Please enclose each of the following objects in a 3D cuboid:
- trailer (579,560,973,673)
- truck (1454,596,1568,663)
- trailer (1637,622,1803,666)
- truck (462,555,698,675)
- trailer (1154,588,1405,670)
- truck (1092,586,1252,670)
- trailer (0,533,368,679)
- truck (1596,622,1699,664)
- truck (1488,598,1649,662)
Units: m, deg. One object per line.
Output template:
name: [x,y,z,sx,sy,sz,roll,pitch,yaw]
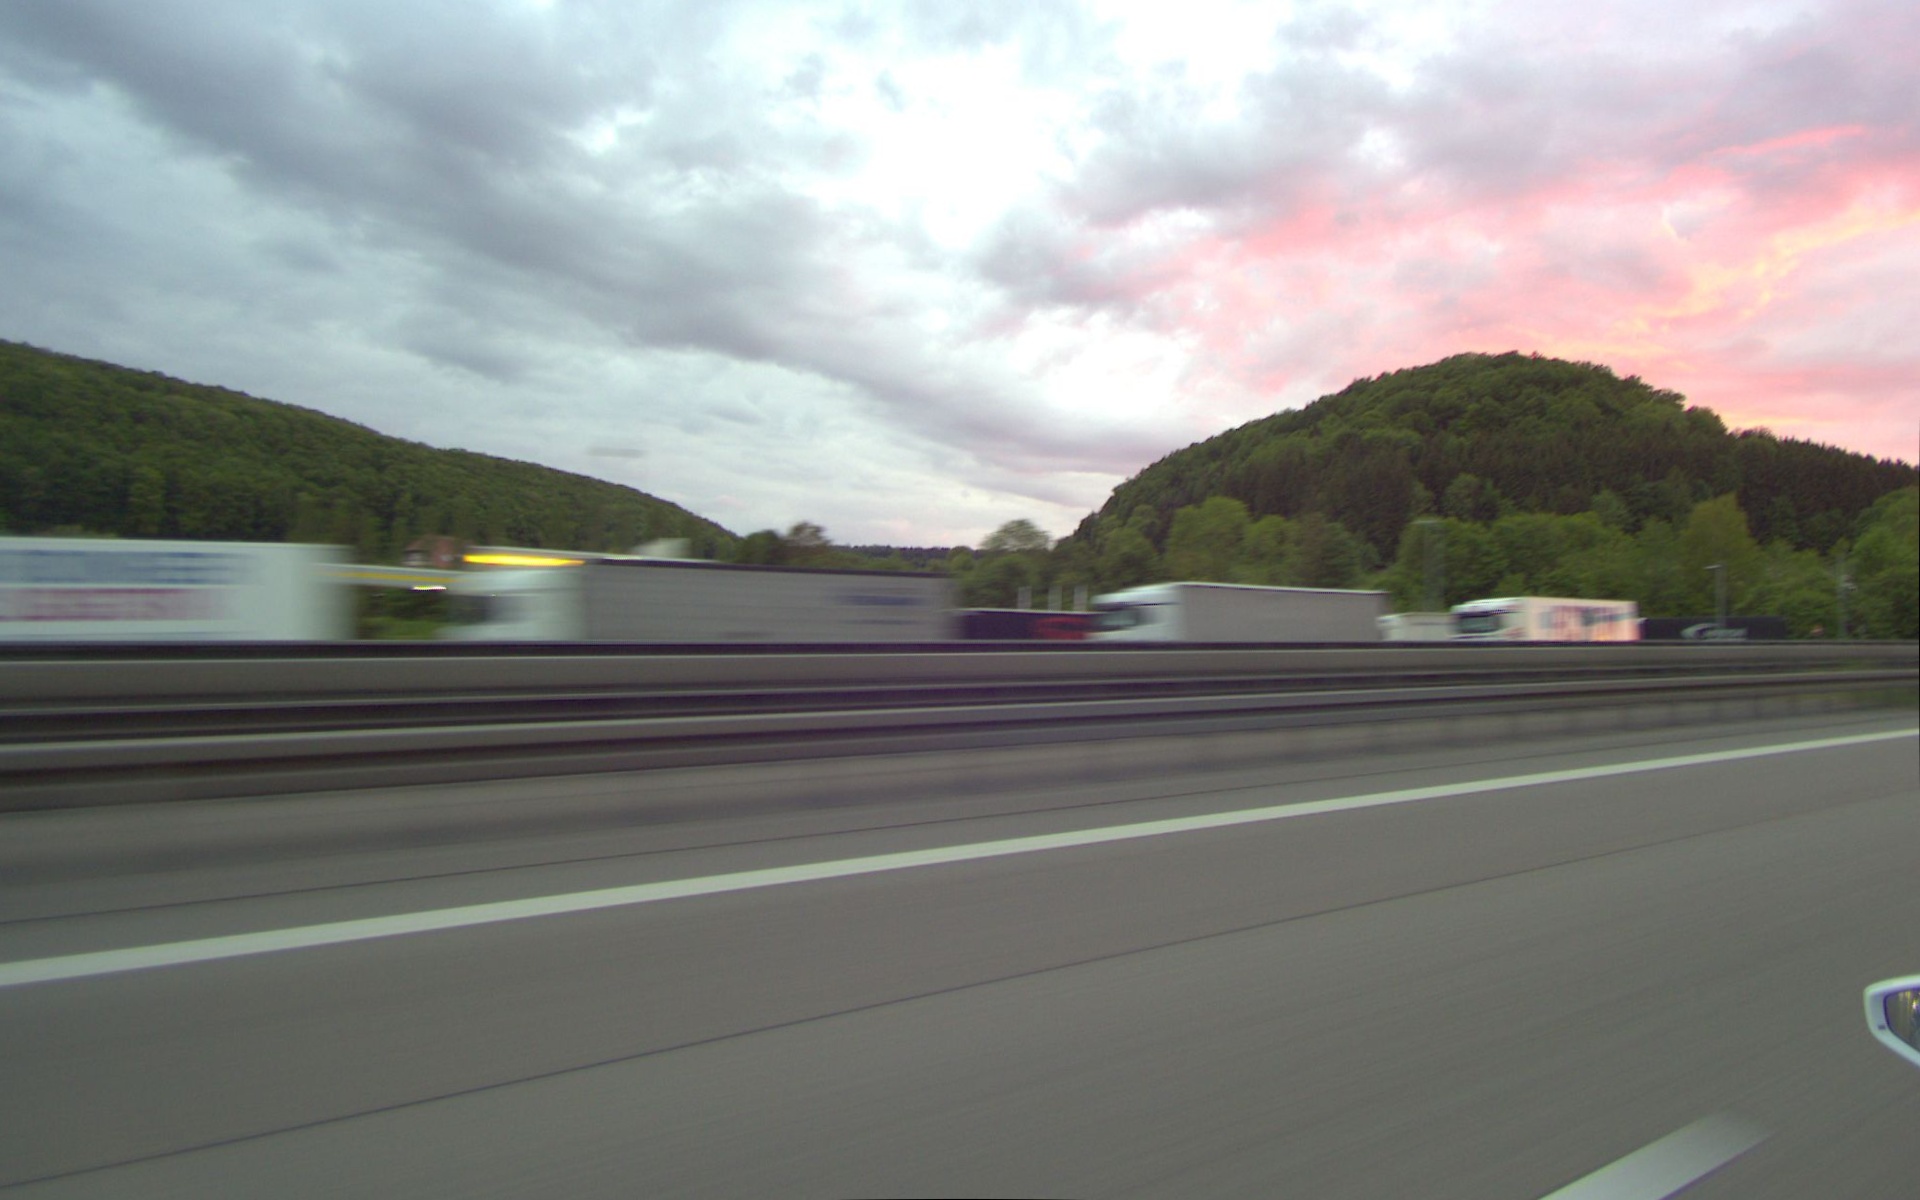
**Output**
trailer: [-6.053,0.667,35.275,13.408,3.470,2.860,2,-1,-30]
truck: [30.484,1.621,55.488,6.657,3.470,2.855,2,-1,-34]
trailer: [70.651,4.086,93.516,13.079,3.728,3.072,1,-1,0]
truck: [-12.008,0.514,31.862,6.645,3.470,2.860,1,-1,-30]
trailer: [15.418,1.401,47.615,13.686,3.470,2.860,2,-1,-30]
truck: [9.370,1.233,44.144,6.645,3.470,2.861,1,-1,-29]
trailer: [-22.816,0.165,25.682,13.063,3.470,2.861,2,-1,-29]
truck: [63.925,3.984,93.538,7.526,3.728,3.014,1,-1,0]
truck: [36.274,1.796,59.511,13.651,3.470,2.855,2,-1,-35]
